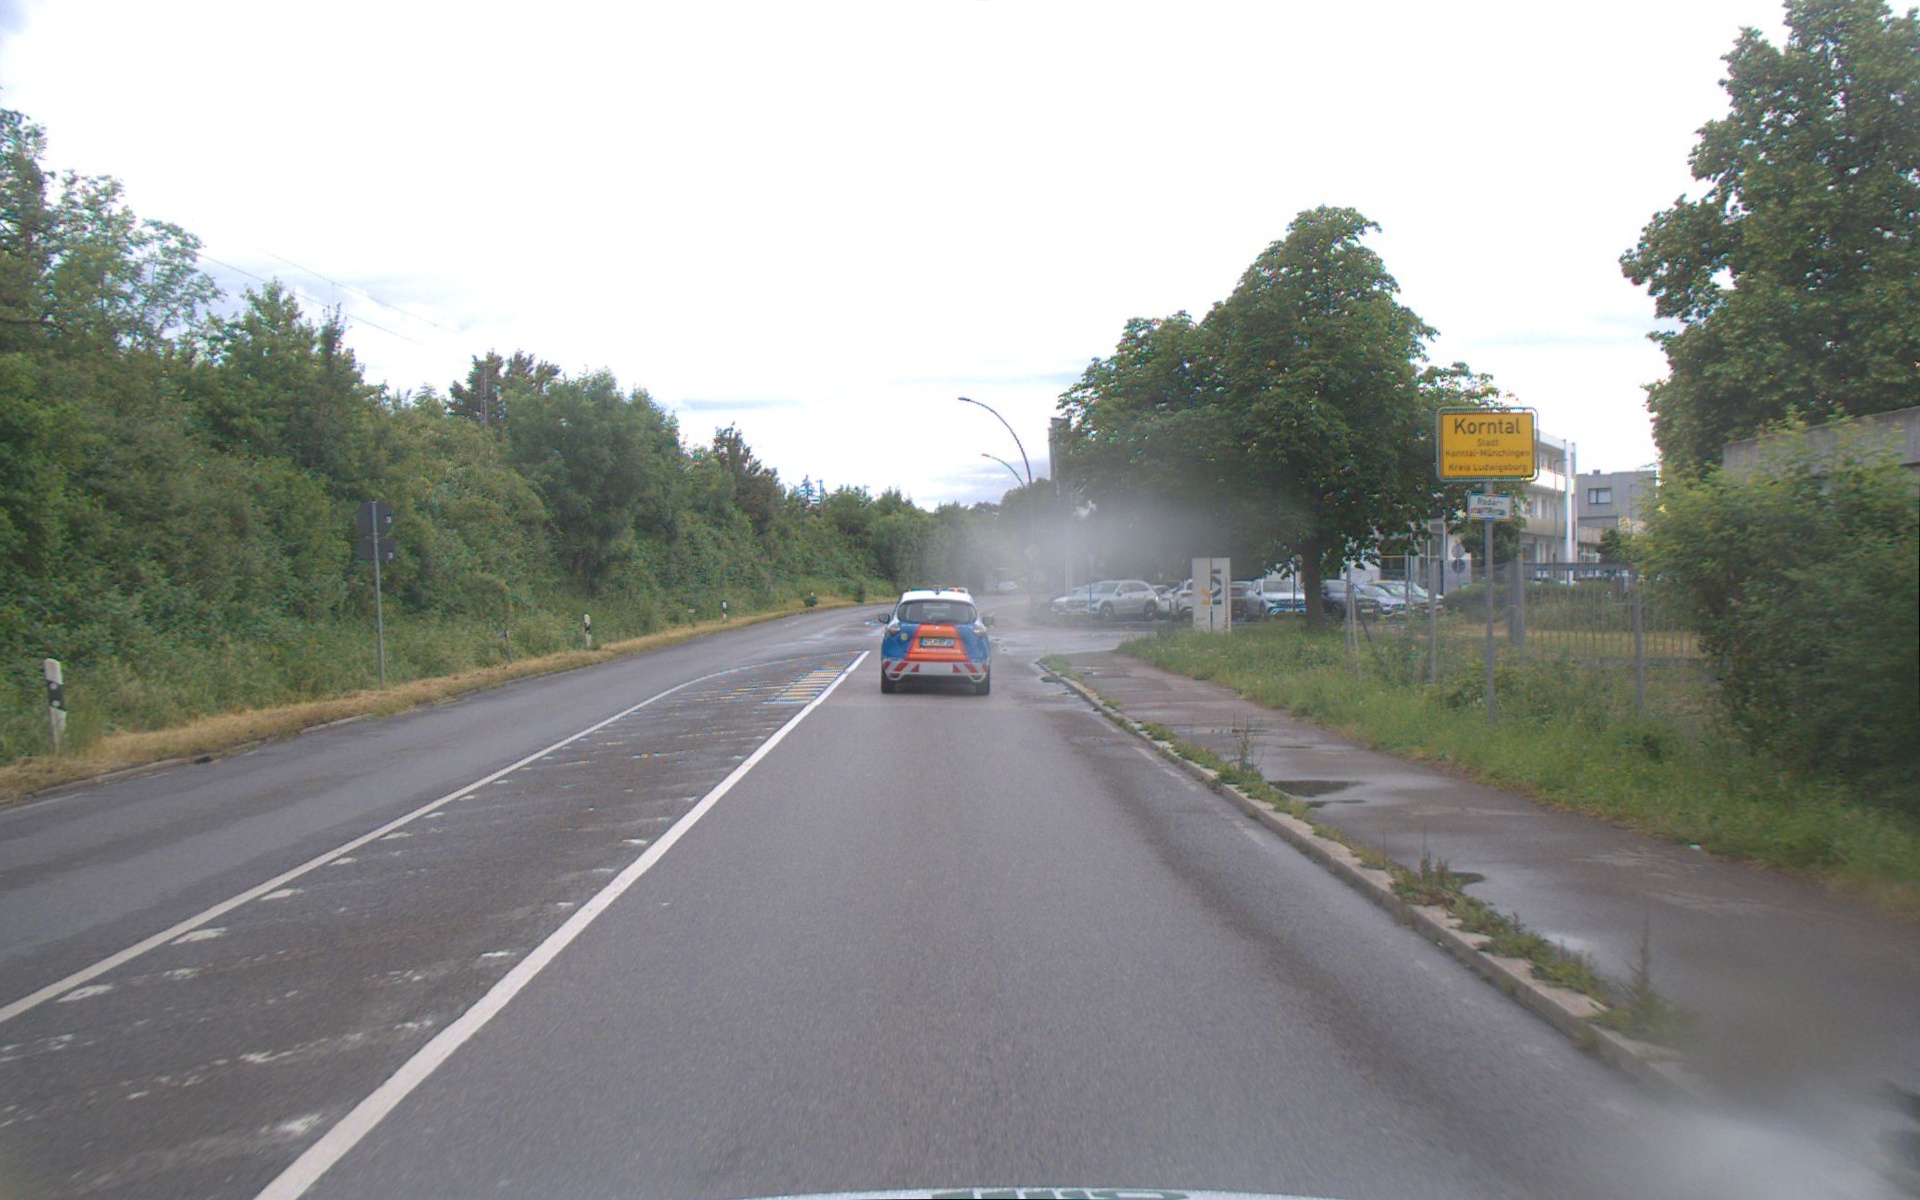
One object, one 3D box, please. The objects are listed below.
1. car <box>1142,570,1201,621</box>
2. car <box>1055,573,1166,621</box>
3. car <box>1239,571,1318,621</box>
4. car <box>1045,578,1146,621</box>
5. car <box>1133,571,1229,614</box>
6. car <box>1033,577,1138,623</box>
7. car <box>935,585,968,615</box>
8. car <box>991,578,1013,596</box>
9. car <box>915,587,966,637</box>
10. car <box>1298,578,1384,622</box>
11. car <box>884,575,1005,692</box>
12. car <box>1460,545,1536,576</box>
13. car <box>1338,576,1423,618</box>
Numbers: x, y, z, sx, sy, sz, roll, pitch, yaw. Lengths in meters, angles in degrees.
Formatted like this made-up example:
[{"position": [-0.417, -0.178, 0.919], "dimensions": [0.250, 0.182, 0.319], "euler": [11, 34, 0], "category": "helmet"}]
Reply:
[{"position": [8.089, -0.163, 63.430], "dimensions": [1.788, 1.861, 4.264], "euler": [1, 0, 2], "category": "car"}, {"position": [6.057, -0.105, 66.195], "dimensions": [2.001, 1.782, 4.586], "euler": [1, -1, 44], "category": "car"}, {"position": [12.148, -0.137, 63.404], "dimensions": [1.898, 1.782, 4.616], "euler": [1, 0, -3], "category": "car"}, {"position": [6.087, 0.006, 73.937], "dimensions": [4.571, 1.782, 1.782], "euler": [1, -2, -38], "category": "car"}, {"position": [9.507, -0.317, 70.958], "dimensions": [1.896, 1.781, 4.592], "euler": [1, 1, 41], "category": "car"}, {"position": [5.306, 0.034, 69.520], "dimensions": [2.001, 1.782, 4.586], "euler": [-1, -2, 44], "category": "car"}, {"position": [-0.535, 0.009, 106.374], "dimensions": [1.658, 1.822, 3.858], "euler": [1, 0, 5], "category": "car"}, {"position": [4.593, -1.417, 179.979], "dimensions": [1.658, 1.822, 3.859], "euler": [1, 0, 11], "category": "car"}, {"position": [-0.659, 0.400, 57.083], "dimensions": [1.659, 1.623, 3.855], "euler": [1, 0, -1], "category": "car"}, {"position": [14.983, -0.004, 65.315], "dimensions": [1.620, 1.630, 4.608], "euler": [2, 0, -10], "category": "car"}, {"position": [-0.270, 0.502, 26.511], "dimensions": [1.769, 1.697, 3.855], "euler": [1, 0, -1], "category": "car"}, {"position": [28.024, -2.048, 86.117], "dimensions": [3.582, 1.522, 1.654], "euler": [1, 0, 25], "category": "car"}, {"position": [17.288, -0.112, 68.199], "dimensions": [1.620, 1.630, 4.608], "euler": [2, 0, -10], "category": "car"}]
